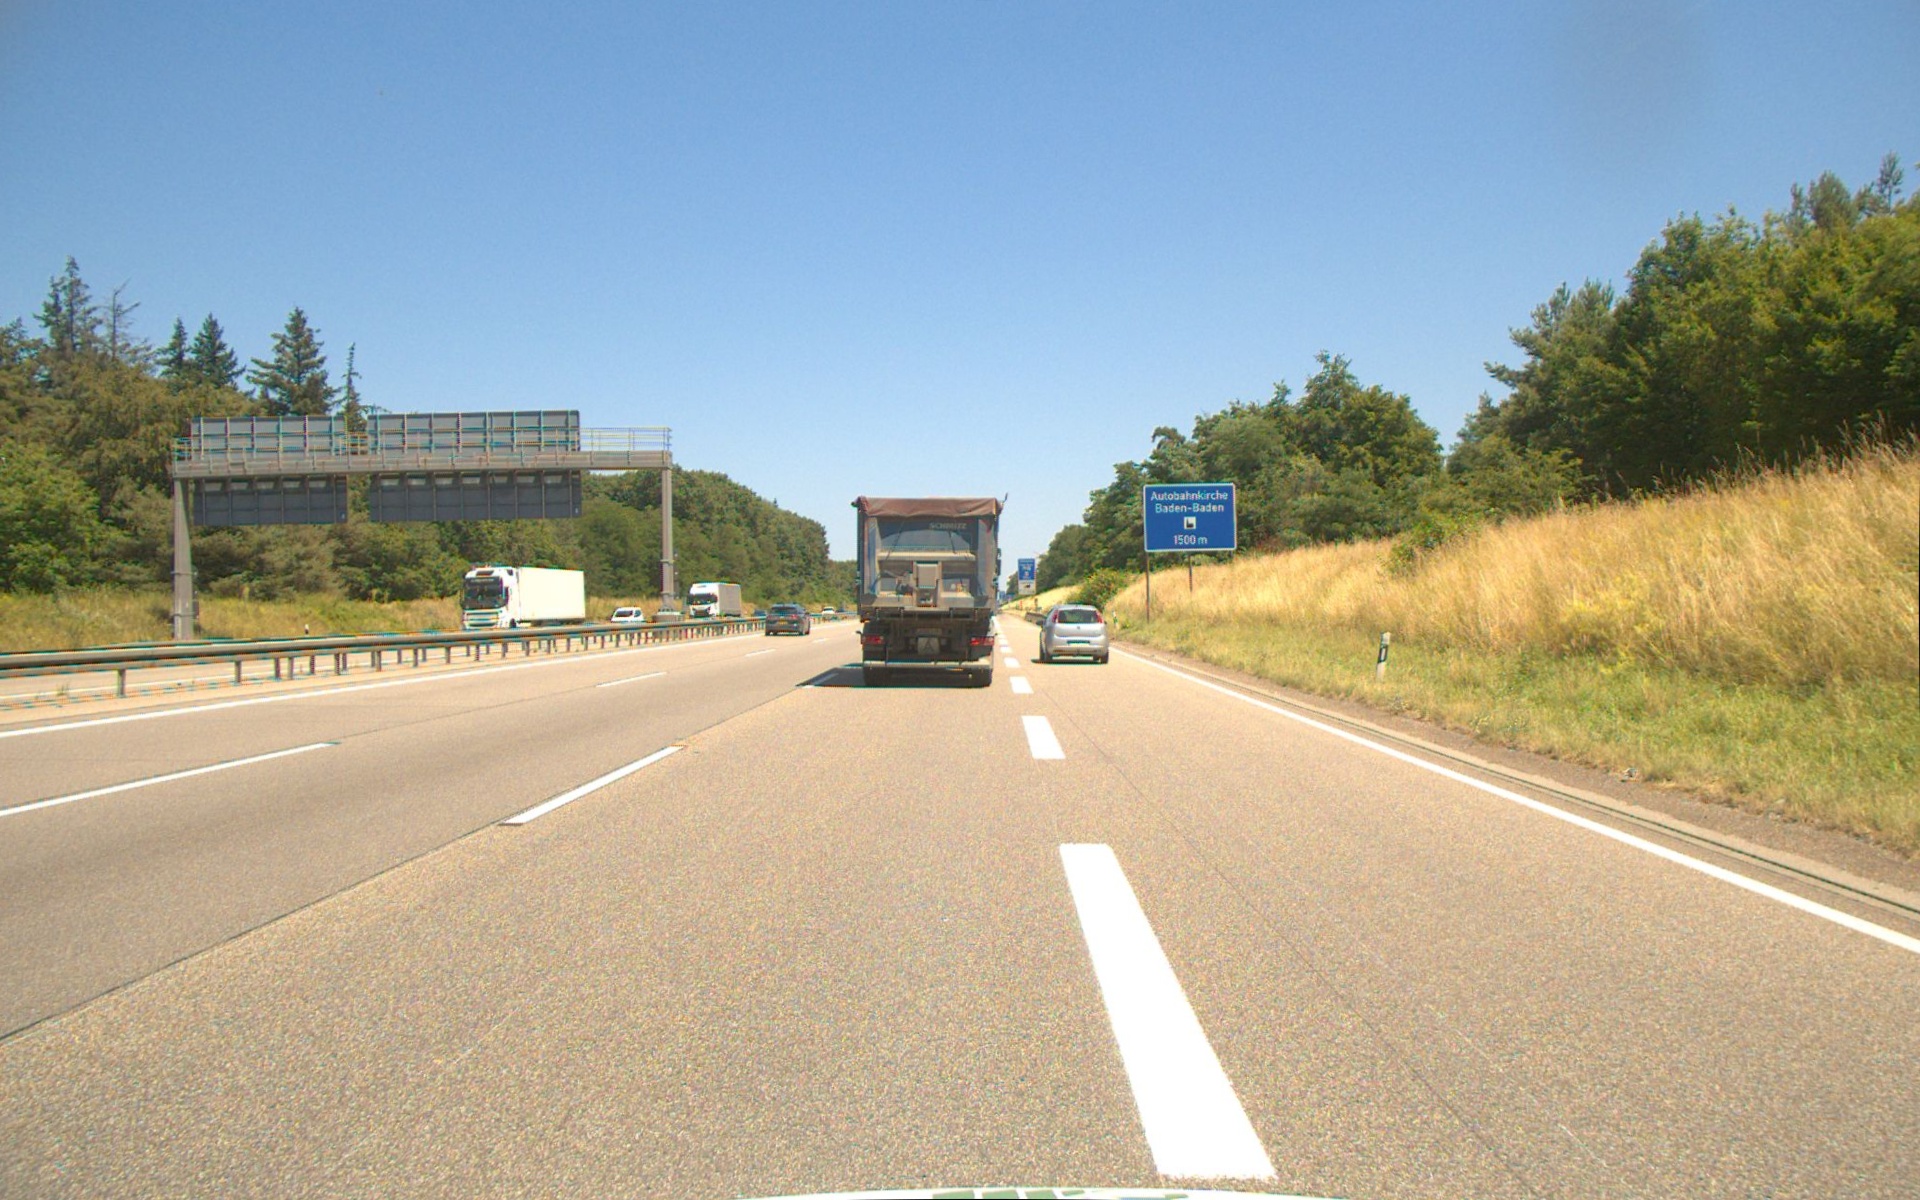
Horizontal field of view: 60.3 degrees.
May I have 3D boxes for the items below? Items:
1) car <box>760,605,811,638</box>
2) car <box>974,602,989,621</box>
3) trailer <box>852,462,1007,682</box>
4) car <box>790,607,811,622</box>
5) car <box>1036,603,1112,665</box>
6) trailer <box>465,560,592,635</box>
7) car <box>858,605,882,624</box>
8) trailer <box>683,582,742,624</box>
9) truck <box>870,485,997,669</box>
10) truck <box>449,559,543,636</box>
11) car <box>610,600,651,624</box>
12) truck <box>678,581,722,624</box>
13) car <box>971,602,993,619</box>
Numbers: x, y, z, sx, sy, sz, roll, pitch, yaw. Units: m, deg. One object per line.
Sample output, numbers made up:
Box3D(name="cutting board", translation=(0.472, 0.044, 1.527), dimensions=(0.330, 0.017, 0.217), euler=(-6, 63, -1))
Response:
Box3D(name="car", translation=(-8.161, 0.981, 77.798), dimensions=(1.794, 1.457, 5.000), euler=(0, 0, 1))
Box3D(name="car", translation=(2.341, 1.217, 178.705), dimensions=(1.578, 2.049, 4.000), euler=(1, 0, 0))
Box3D(name="trailer", translation=(-0.533, -0.508, 33.478), dimensions=(2.681, 3.824, 9.108), euler=(0, 0, 0))
Box3D(name="car", translation=(-18.047, 1.650, 186.828), dimensions=(1.808, 1.638, 4.921), euler=(0, 0, 1))
Box3D(name="car", translation=(2.963, 0.852, 43.543), dimensions=(1.684, 1.517, 3.736), euler=(0, 0, -1))
Box3D(name="trailer", translation=(-25.294, -0.108, 98.012), dimensions=(3.147, 4.113, 14.365), euler=(0, 0, 3))
Box3D(name="car", translation=(-7.376, 1.181, 135.461), dimensions=(1.668, 1.500, 4.597), euler=(-1, 0, 0))
Box3D(name="trailer", translation=(-24.410, 0.316, 164.242), dimensions=(3.102, 3.999, 13.968), euler=(0, 0, 3))
Box3D(name="truck", translation=(-0.553, -0.493, 37.567), dimensions=(2.629, 3.824, 5.944), euler=(0, 0, 0))
Box3D(name="truck", translation=(-25.582, -0.128, 91.489), dimensions=(3.147, 4.088, 6.217), euler=(0, 0, 3))
Box3D(name="car", translation=(-24.679, 0.901, 124.027), dimensions=(1.952, 1.780, 4.991), euler=(0, 0, 1))
Box3D(name="truck", translation=(-24.732, 0.263, 157.648), dimensions=(3.102, 3.999, 5.402), euler=(0, 0, 3))
Box3D(name="car", translation=(1.990, 0.965, 150.222), dimensions=(1.783, 1.518, 3.738), euler=(0, -1, 3))
